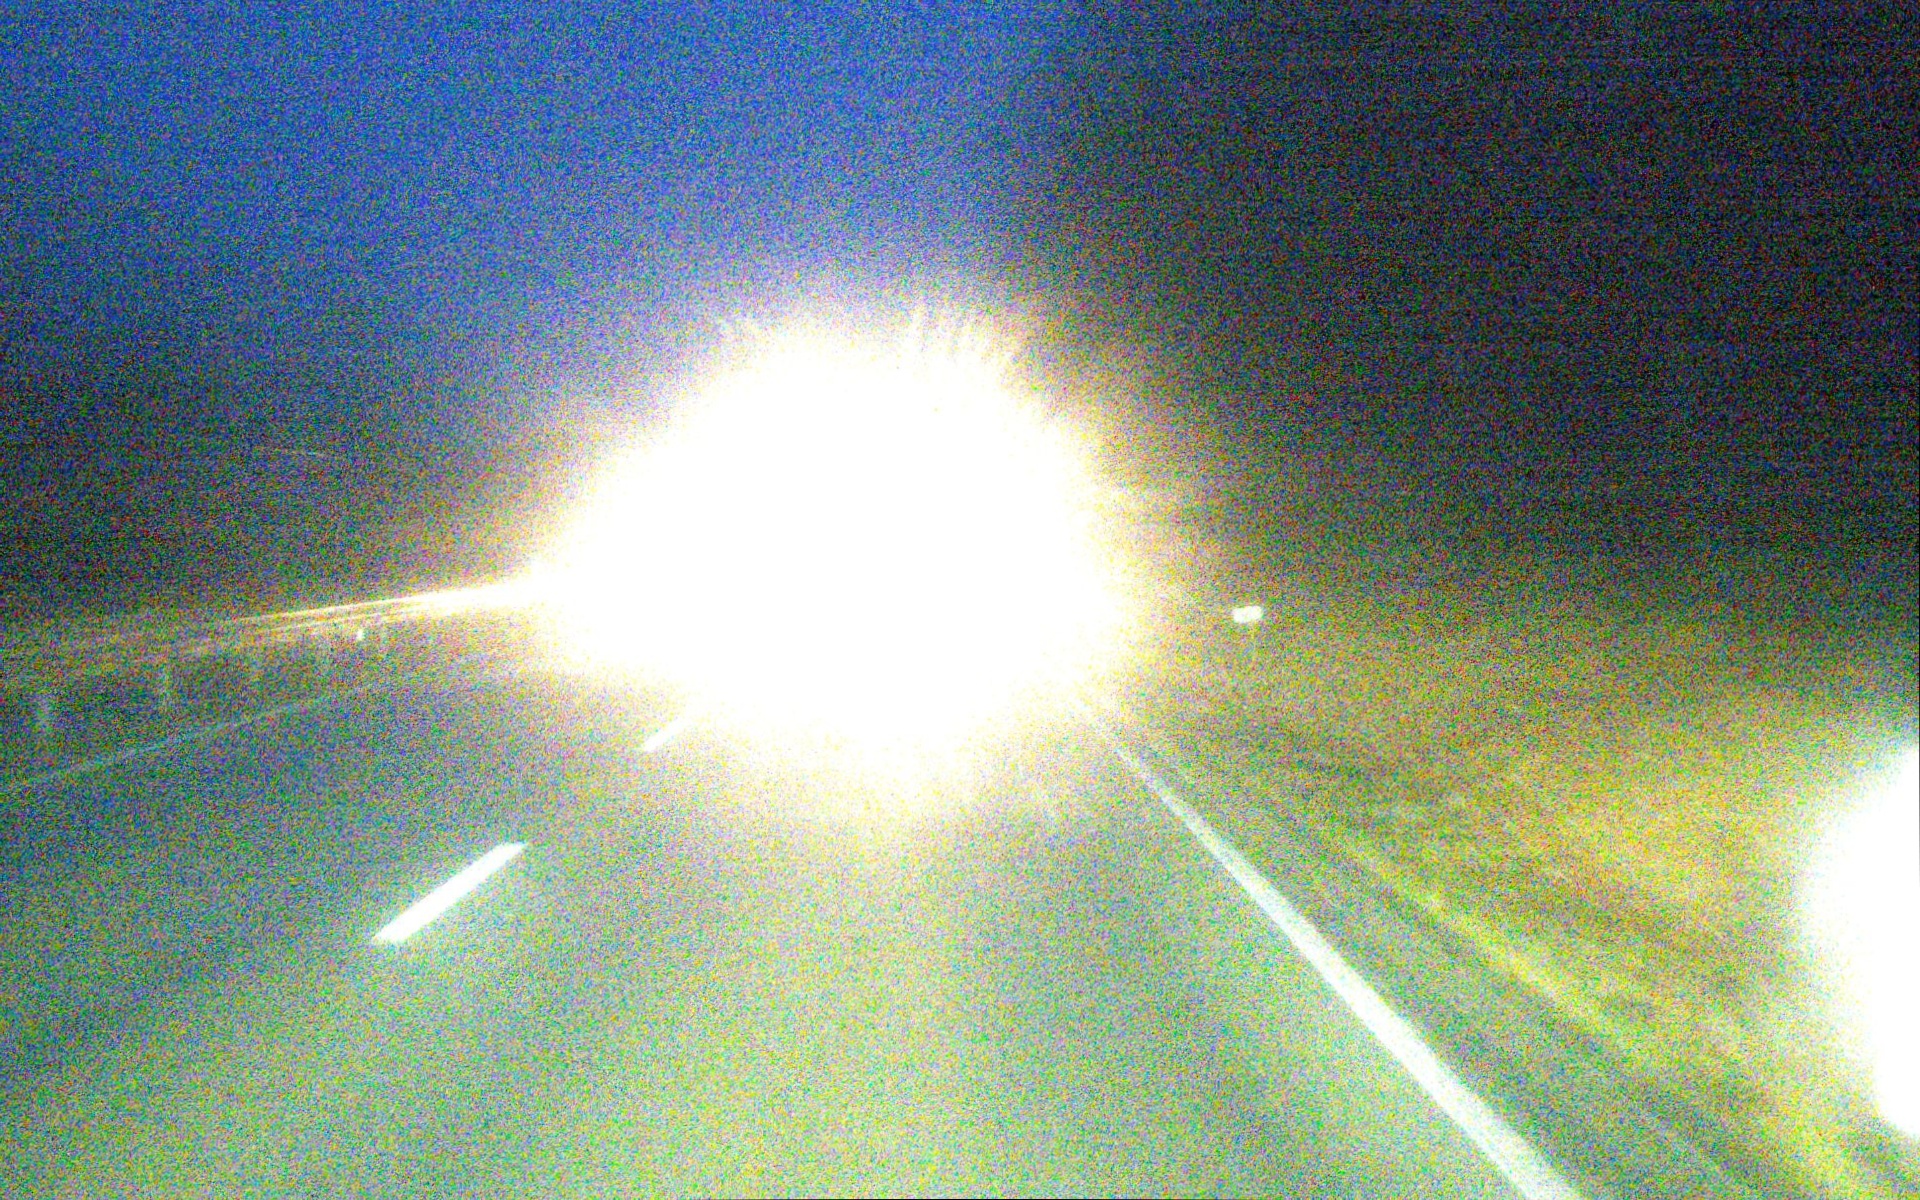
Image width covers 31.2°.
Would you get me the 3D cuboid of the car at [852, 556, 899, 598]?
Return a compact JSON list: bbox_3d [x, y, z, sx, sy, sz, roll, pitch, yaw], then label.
[{"bbox_3d":[-3.868,-1.080,157.821,1.993,1.818,4.563,2,1,-1],"label":"car"}]
